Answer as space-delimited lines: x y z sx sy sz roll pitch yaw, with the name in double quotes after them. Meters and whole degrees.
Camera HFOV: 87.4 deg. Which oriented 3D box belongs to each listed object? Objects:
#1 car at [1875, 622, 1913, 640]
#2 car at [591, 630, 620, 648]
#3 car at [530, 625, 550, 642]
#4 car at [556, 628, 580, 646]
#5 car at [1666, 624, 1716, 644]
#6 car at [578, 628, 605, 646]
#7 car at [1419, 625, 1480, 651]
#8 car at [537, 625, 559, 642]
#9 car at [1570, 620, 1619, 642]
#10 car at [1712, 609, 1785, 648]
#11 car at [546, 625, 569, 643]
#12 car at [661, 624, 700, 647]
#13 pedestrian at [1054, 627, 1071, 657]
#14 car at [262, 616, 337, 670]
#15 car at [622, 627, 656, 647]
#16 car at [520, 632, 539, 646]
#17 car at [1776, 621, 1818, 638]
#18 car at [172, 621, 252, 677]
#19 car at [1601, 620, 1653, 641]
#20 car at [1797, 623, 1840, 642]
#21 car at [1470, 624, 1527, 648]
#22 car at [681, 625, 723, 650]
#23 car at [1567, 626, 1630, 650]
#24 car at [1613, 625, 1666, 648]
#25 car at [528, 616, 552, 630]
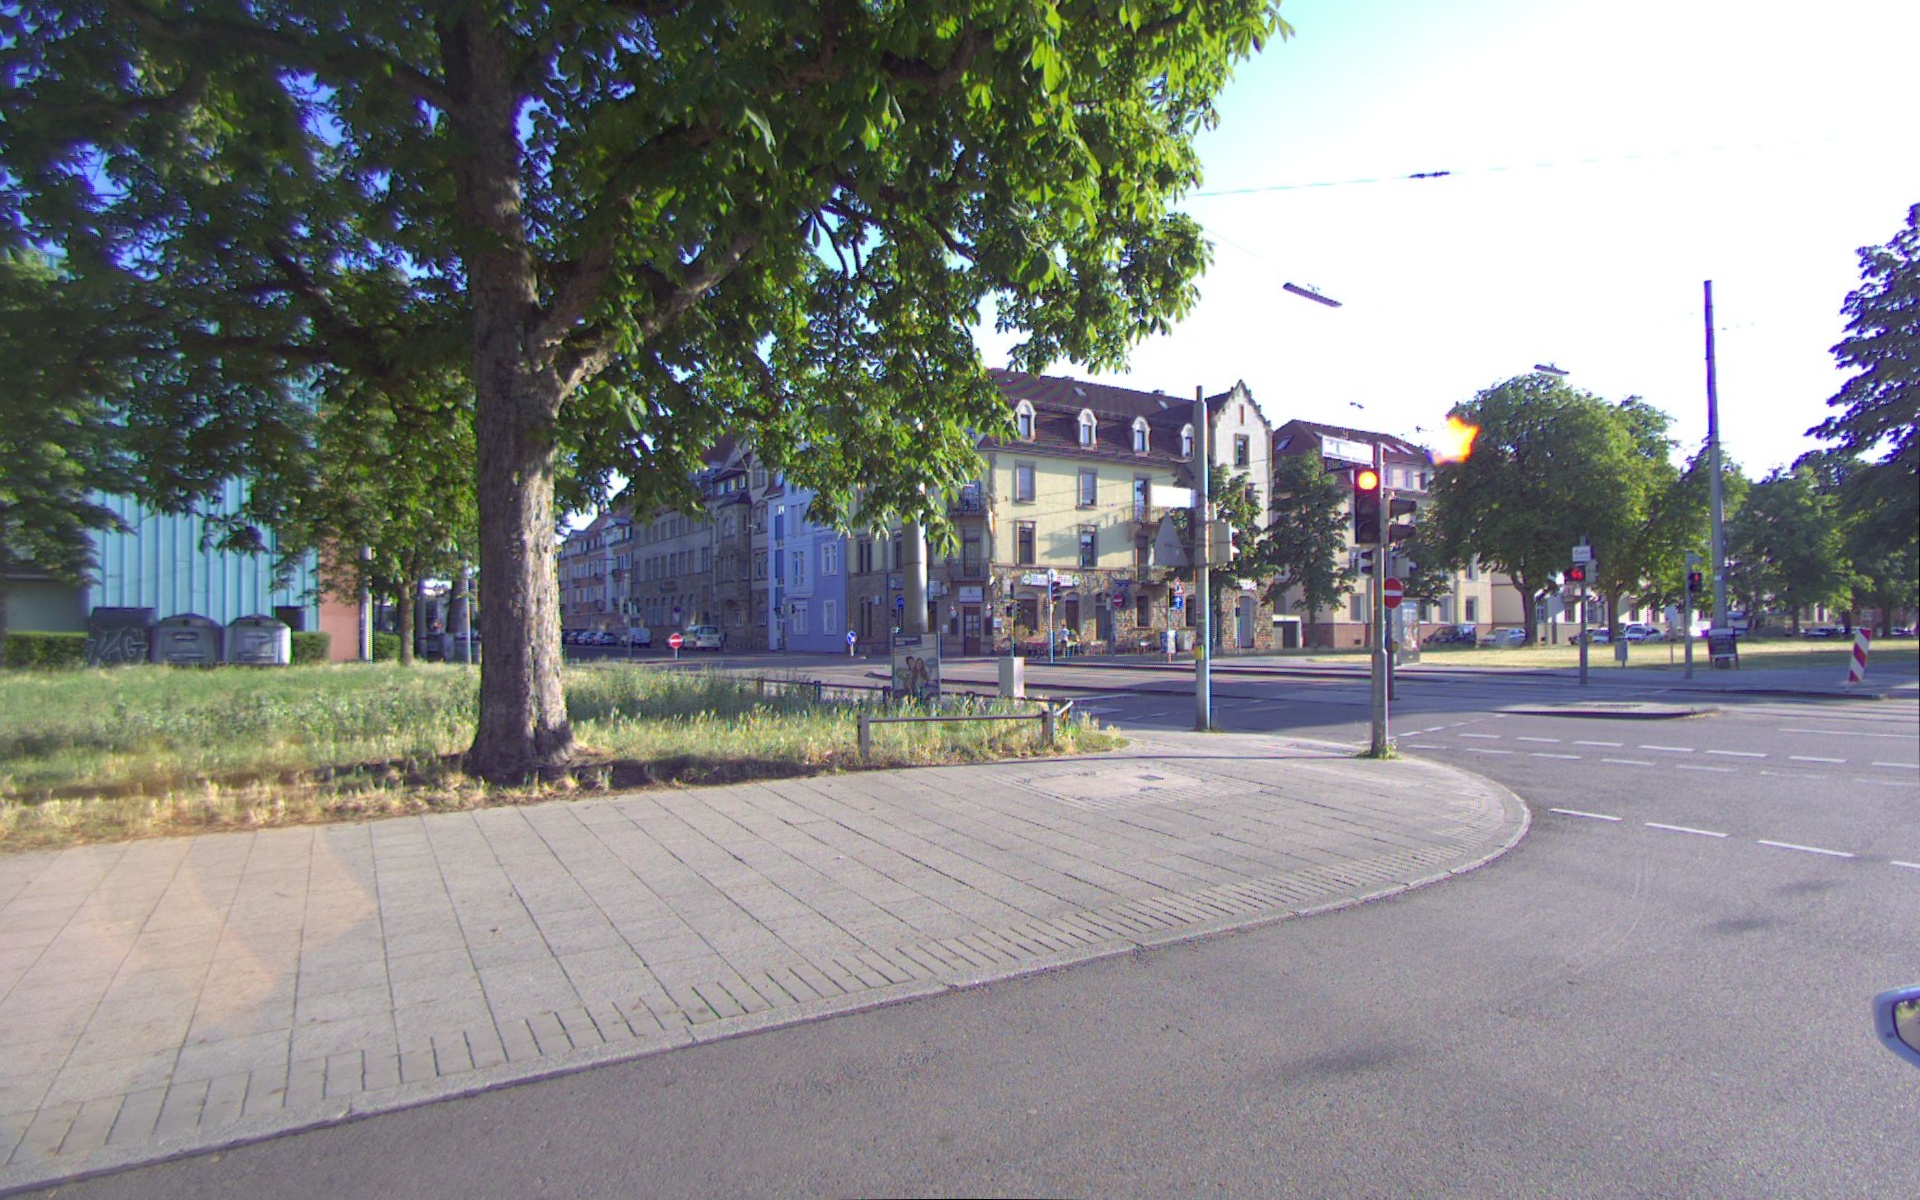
97.864 3.235 105.244 4.075 1.804 1.802 2 0 -31 "car"
-36.551 3.995 103.500 1.980 1.694 3.743 2 0 -34 "car"
-54.760 4.393 130.908 1.756 2.040 3.790 2 0 -34 "car"
-45.994 4.342 117.744 1.782 1.855 3.755 2 0 -34 "car"
66.779 3.097 91.739 4.517 1.681 1.984 2 0 -30 "car"
-39.767 3.983 108.258 1.816 1.692 3.911 2 0 -34 "car"
35.689 2.773 73.202 4.261 1.759 1.984 2 0 -30 "car"
-51.953 4.229 126.675 1.789 2.040 3.772 2 0 -33 "car"
52.829 2.591 83.608 4.142 1.654 1.707 2 0 -30 "car"
67.868 2.432 86.447 7.764 3.173 2.379 1 1 -32 "car"
-48.972 4.078 122.106 1.805 2.040 3.924 2 0 -34 "car"
-23.172 2.950 83.177 1.980 1.763 3.962 1 0 -34 "car"
5.768 2.369 56.344 0.676 1.646 0.612 2 0 -34 "pedestrian"
-22.661 1.544 34.483 1.979 1.693 5.177 2 -4 -33 "car"
-30.020 3.422 93.850 1.980 1.694 3.743 2 0 -34 "car"
-57.754 5.255 134.774 1.713 1.694 3.638 2 0 -33 "car"
86.886 3.067 104.282 4.323 1.681 1.984 2 0 -30 "car"
-24.568 1.551 33.141 1.948 1.693 5.172 1 -2 -35 "car"
58.239 2.644 87.658 4.517 1.681 1.984 2 0 -30 "car"
80.916 3.067 94.692 4.266 1.696 1.869 2 0 -31 "car"
40.878 2.721 76.254 3.953 1.681 1.984 2 0 -30 "car"
-20.143 2.911 78.264 2.011 1.760 3.743 2 0 -34 "car"
46.533 2.779 73.182 4.517 1.681 1.984 2 0 -30 "car"
51.449 2.722 76.081 4.372 1.575 1.785 0 1 -34 "car"
-58.285 3.178 139.372 1.912 1.715 3.951 2 0 -41 "car"
